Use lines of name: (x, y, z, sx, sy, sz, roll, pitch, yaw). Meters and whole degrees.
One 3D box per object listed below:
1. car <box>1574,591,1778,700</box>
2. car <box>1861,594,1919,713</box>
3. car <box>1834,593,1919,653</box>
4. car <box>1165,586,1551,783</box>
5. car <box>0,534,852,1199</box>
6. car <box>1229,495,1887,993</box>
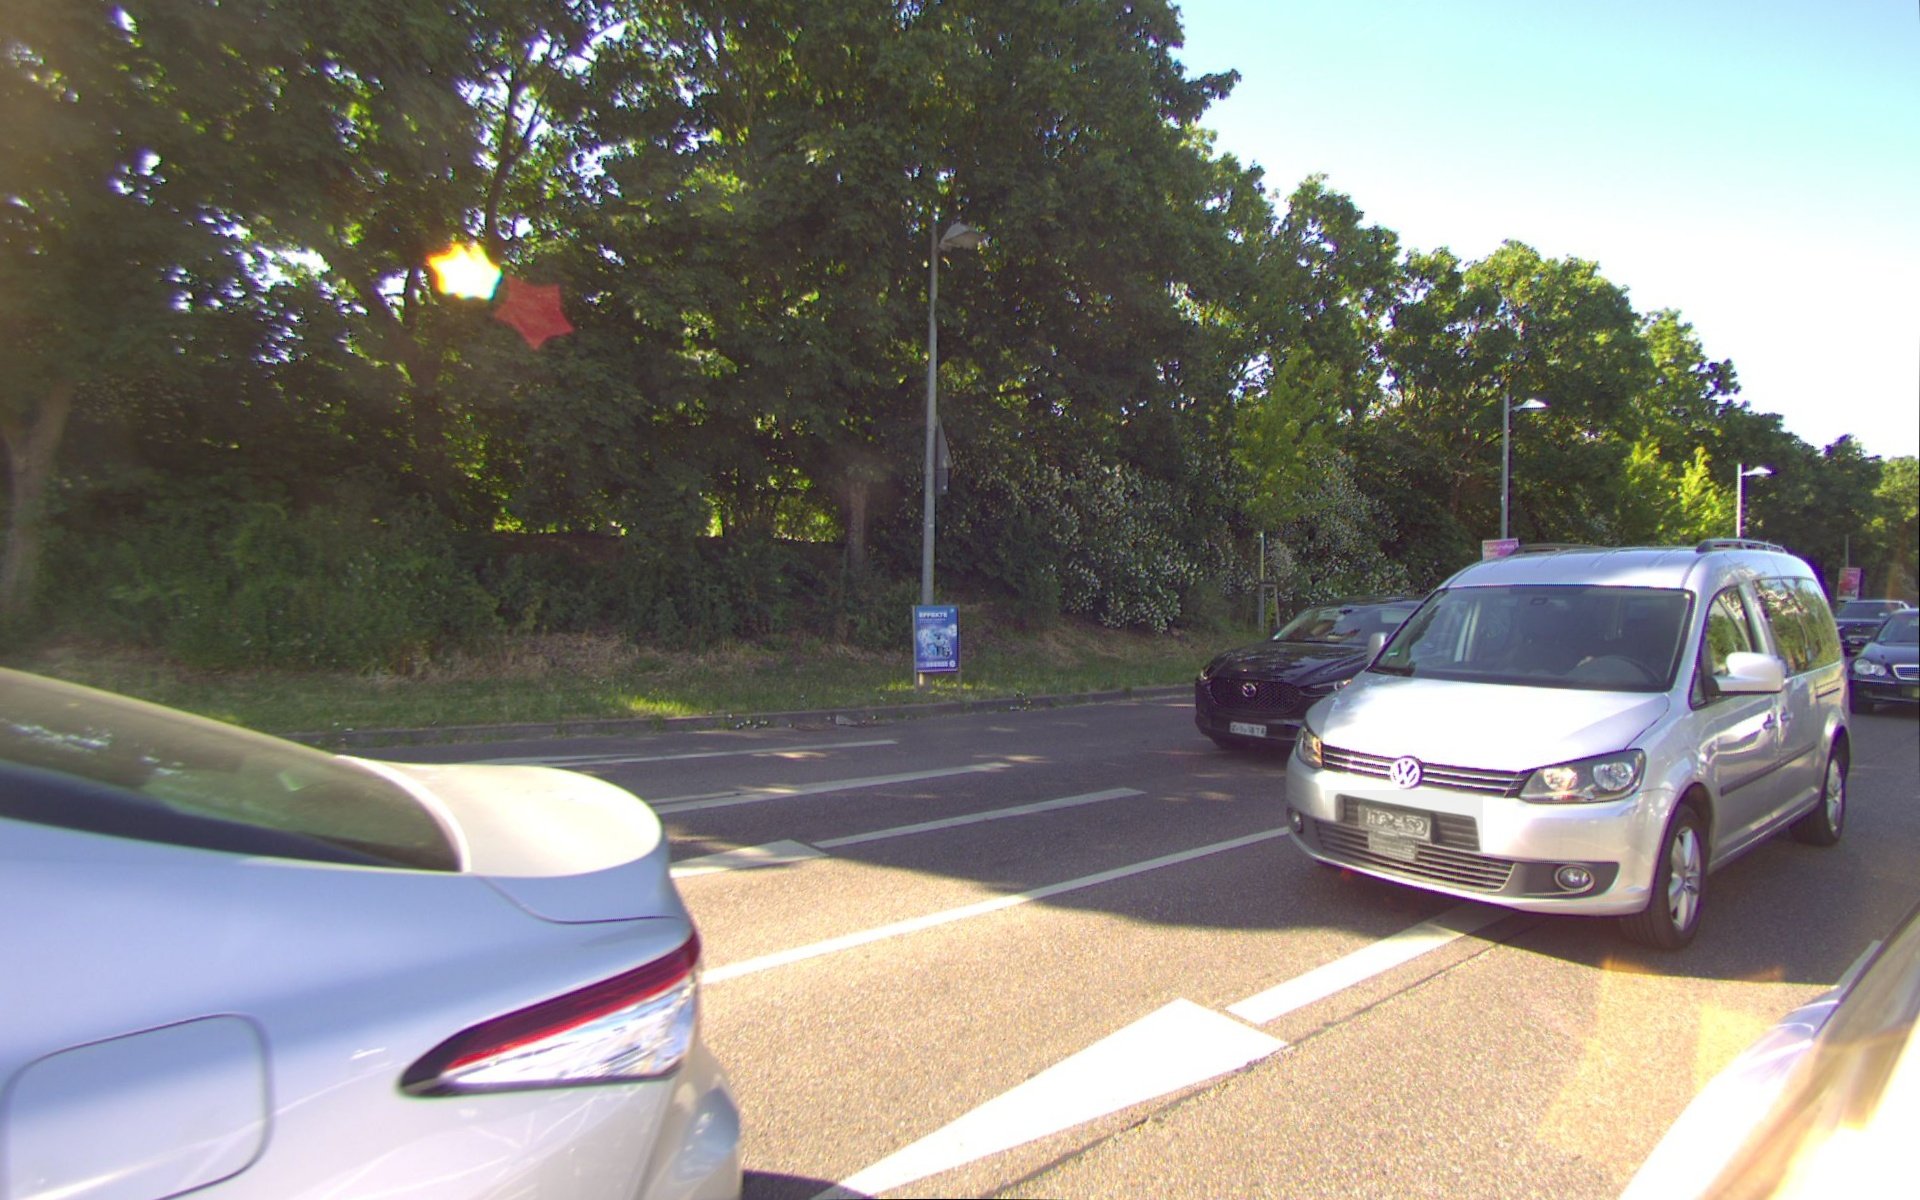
car: (11.498, 0.632, 16.152, 4.064, 1.536, 1.725, 0, 0, -40)
car: (13.753, 0.687, 13.846, 4.126, 1.472, 1.715, 0, 1, -43)
car: (25.395, 0.573, 27.659, 3.894, 1.512, 1.713, 0, 1, -40)
car: (4.030, 0.638, 9.931, 4.151, 1.527, 1.771, -1, 0, -40)
car: (-2.490, 0.694, 0.672, 4.599, 1.512, 1.808, 0, 0, -40)
car: (3.690, 0.500, 5.868, 4.504, 1.844, 1.809, -1, 1, -39)
